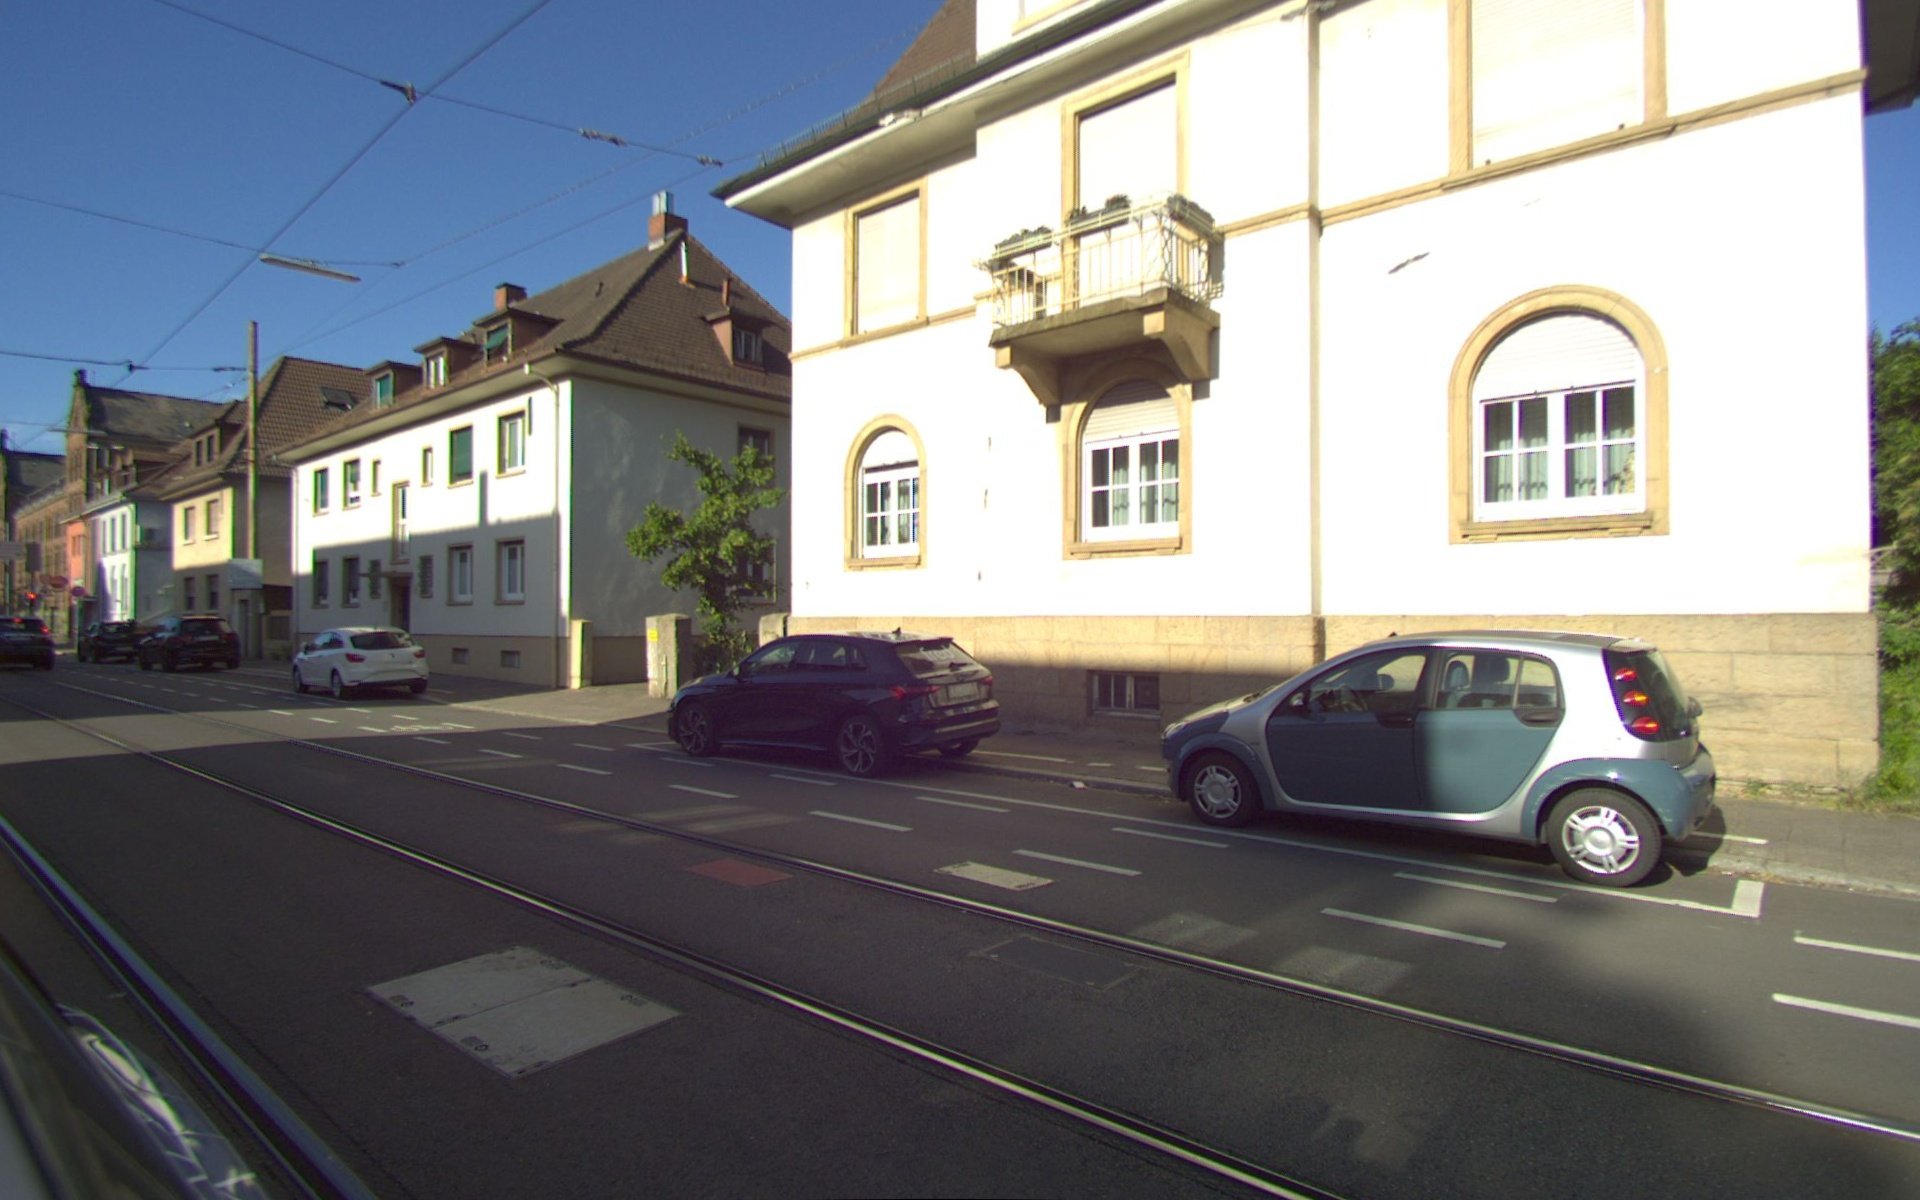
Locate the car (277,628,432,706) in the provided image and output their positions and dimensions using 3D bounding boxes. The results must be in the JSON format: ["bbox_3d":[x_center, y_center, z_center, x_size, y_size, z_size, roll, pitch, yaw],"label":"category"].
[{"bbox_3d":[-12.794,1.356,21.295,4.014,1.468,1.614,-1,-3,41],"label":"car"}]

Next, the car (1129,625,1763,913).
[{"bbox_3d":[3.321,0.962,7.333,3.833,1.488,1.659,-1,0,41],"label":"car"}]

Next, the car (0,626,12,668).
[{"bbox_3d":[-35.722,1.678,36.660,4.073,1.472,1.600,-1,-3,41],"label":"car"}]

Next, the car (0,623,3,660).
[{"bbox_3d":[-44.614,1.827,45.820,1.718,1.623,4.717,3,-3,-45],"label":"car"}]

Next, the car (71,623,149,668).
[{"bbox_3d":[-32.752,1.734,38.969,3.918,1.640,1.599,-1,-3,40],"label":"car"}]

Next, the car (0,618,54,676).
[{"bbox_3d":[-29.520,1.420,31.298,4.362,1.718,1.686,-1,-3,41],"label":"car"}]

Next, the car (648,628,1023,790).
[{"bbox_3d":[-1.516,1.071,11.356,4.243,1.488,1.647,-1,-2,37],"label":"car"}]

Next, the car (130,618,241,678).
[{"bbox_3d":[-24.007,1.446,31.305,4.552,1.718,1.744,-1,-3,40],"label":"car"}]
